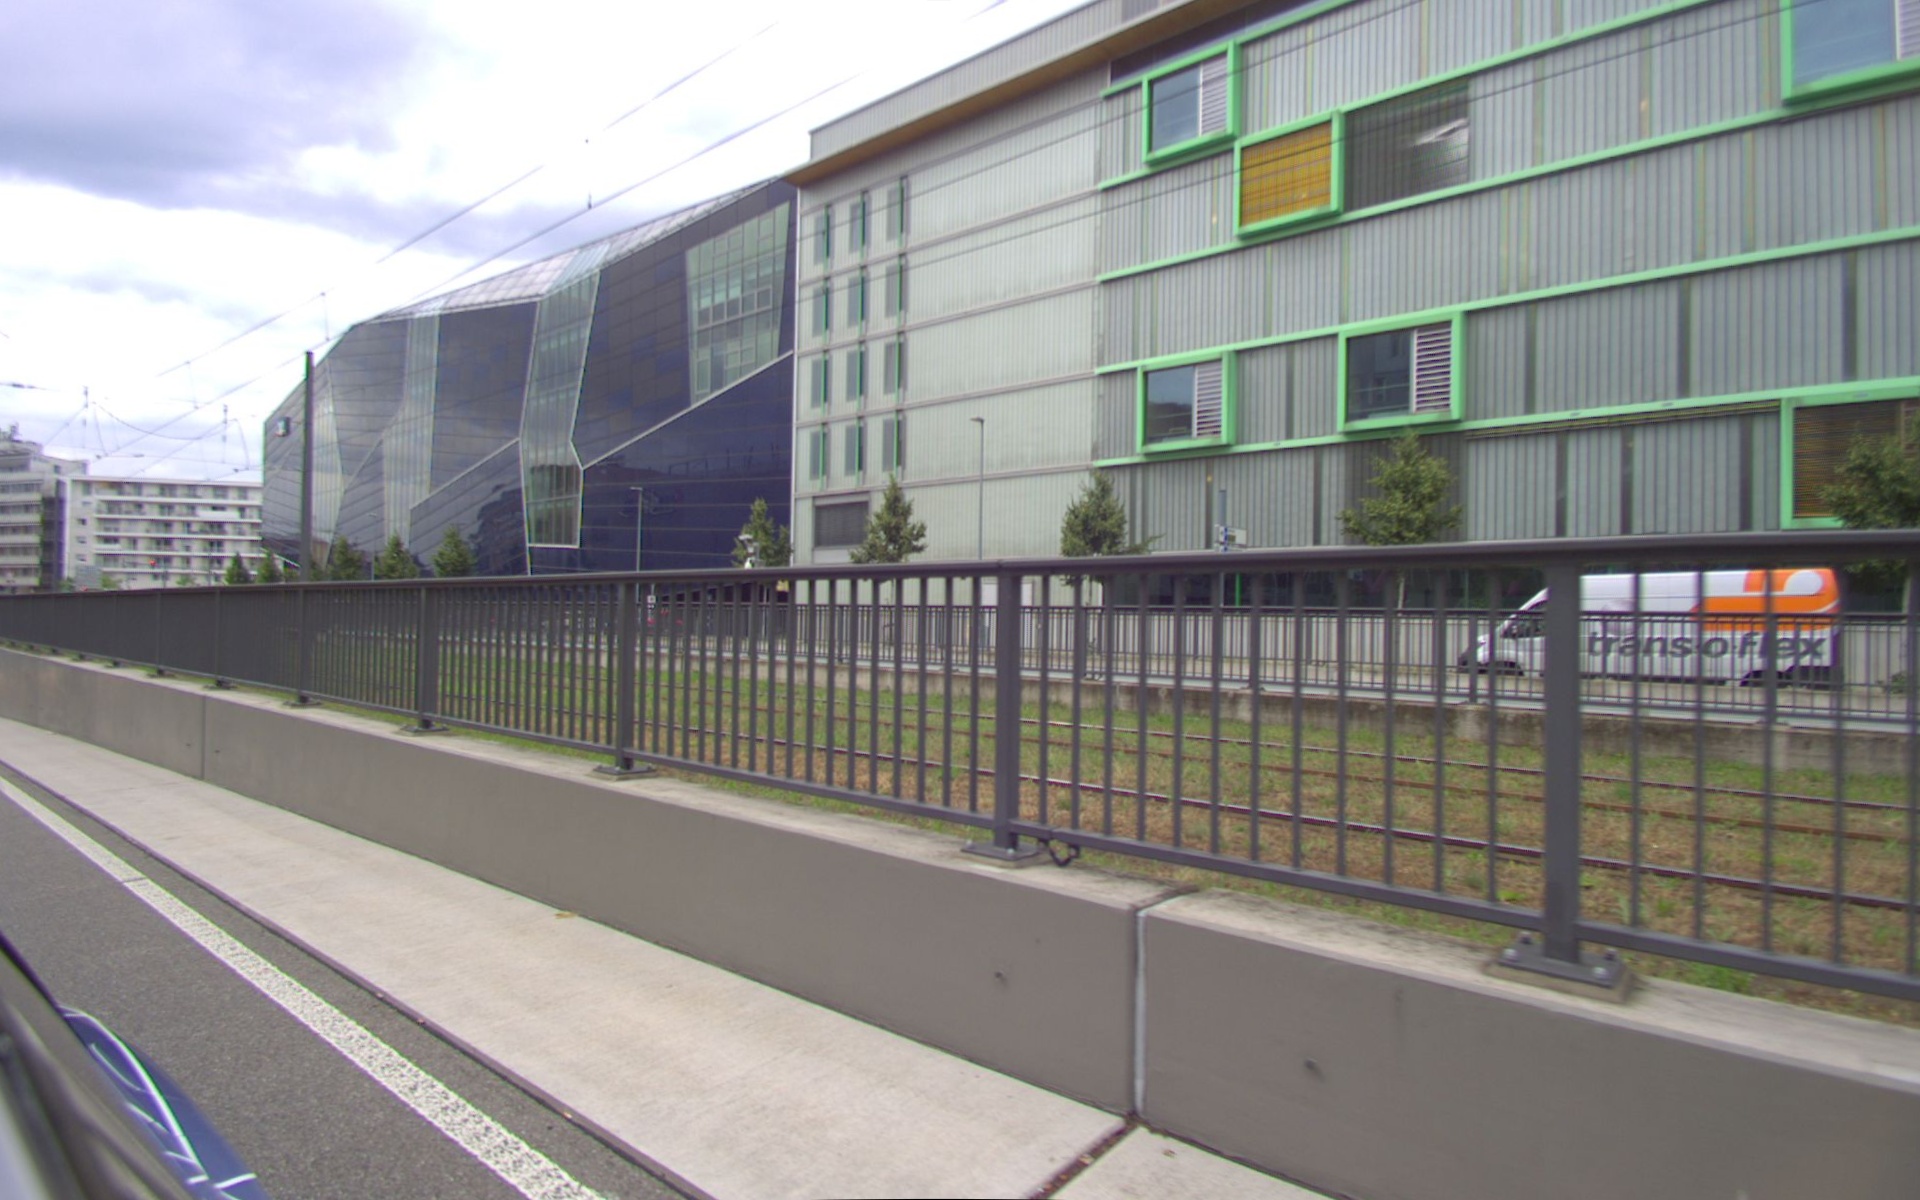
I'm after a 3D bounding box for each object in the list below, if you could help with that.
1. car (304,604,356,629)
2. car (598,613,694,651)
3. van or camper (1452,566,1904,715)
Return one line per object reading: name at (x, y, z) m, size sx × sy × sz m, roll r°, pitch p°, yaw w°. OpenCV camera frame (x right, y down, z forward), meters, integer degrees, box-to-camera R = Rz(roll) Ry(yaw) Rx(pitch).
car at (-44.302, 1.181, 71.145) m, size 4.766 × 1.605 × 1.972 m, roll -3°, pitch -3°, yaw 43°
car at (-13.987, 1.457, 44.921) m, size 4.766 × 1.605 × 1.972 m, roll -3°, pitch -3°, yaw 43°
van or camper at (12.852, 0.660, 18.626) m, size 6.504 × 2.304 × 2.150 m, roll -1°, pitch -1°, yaw 42°
